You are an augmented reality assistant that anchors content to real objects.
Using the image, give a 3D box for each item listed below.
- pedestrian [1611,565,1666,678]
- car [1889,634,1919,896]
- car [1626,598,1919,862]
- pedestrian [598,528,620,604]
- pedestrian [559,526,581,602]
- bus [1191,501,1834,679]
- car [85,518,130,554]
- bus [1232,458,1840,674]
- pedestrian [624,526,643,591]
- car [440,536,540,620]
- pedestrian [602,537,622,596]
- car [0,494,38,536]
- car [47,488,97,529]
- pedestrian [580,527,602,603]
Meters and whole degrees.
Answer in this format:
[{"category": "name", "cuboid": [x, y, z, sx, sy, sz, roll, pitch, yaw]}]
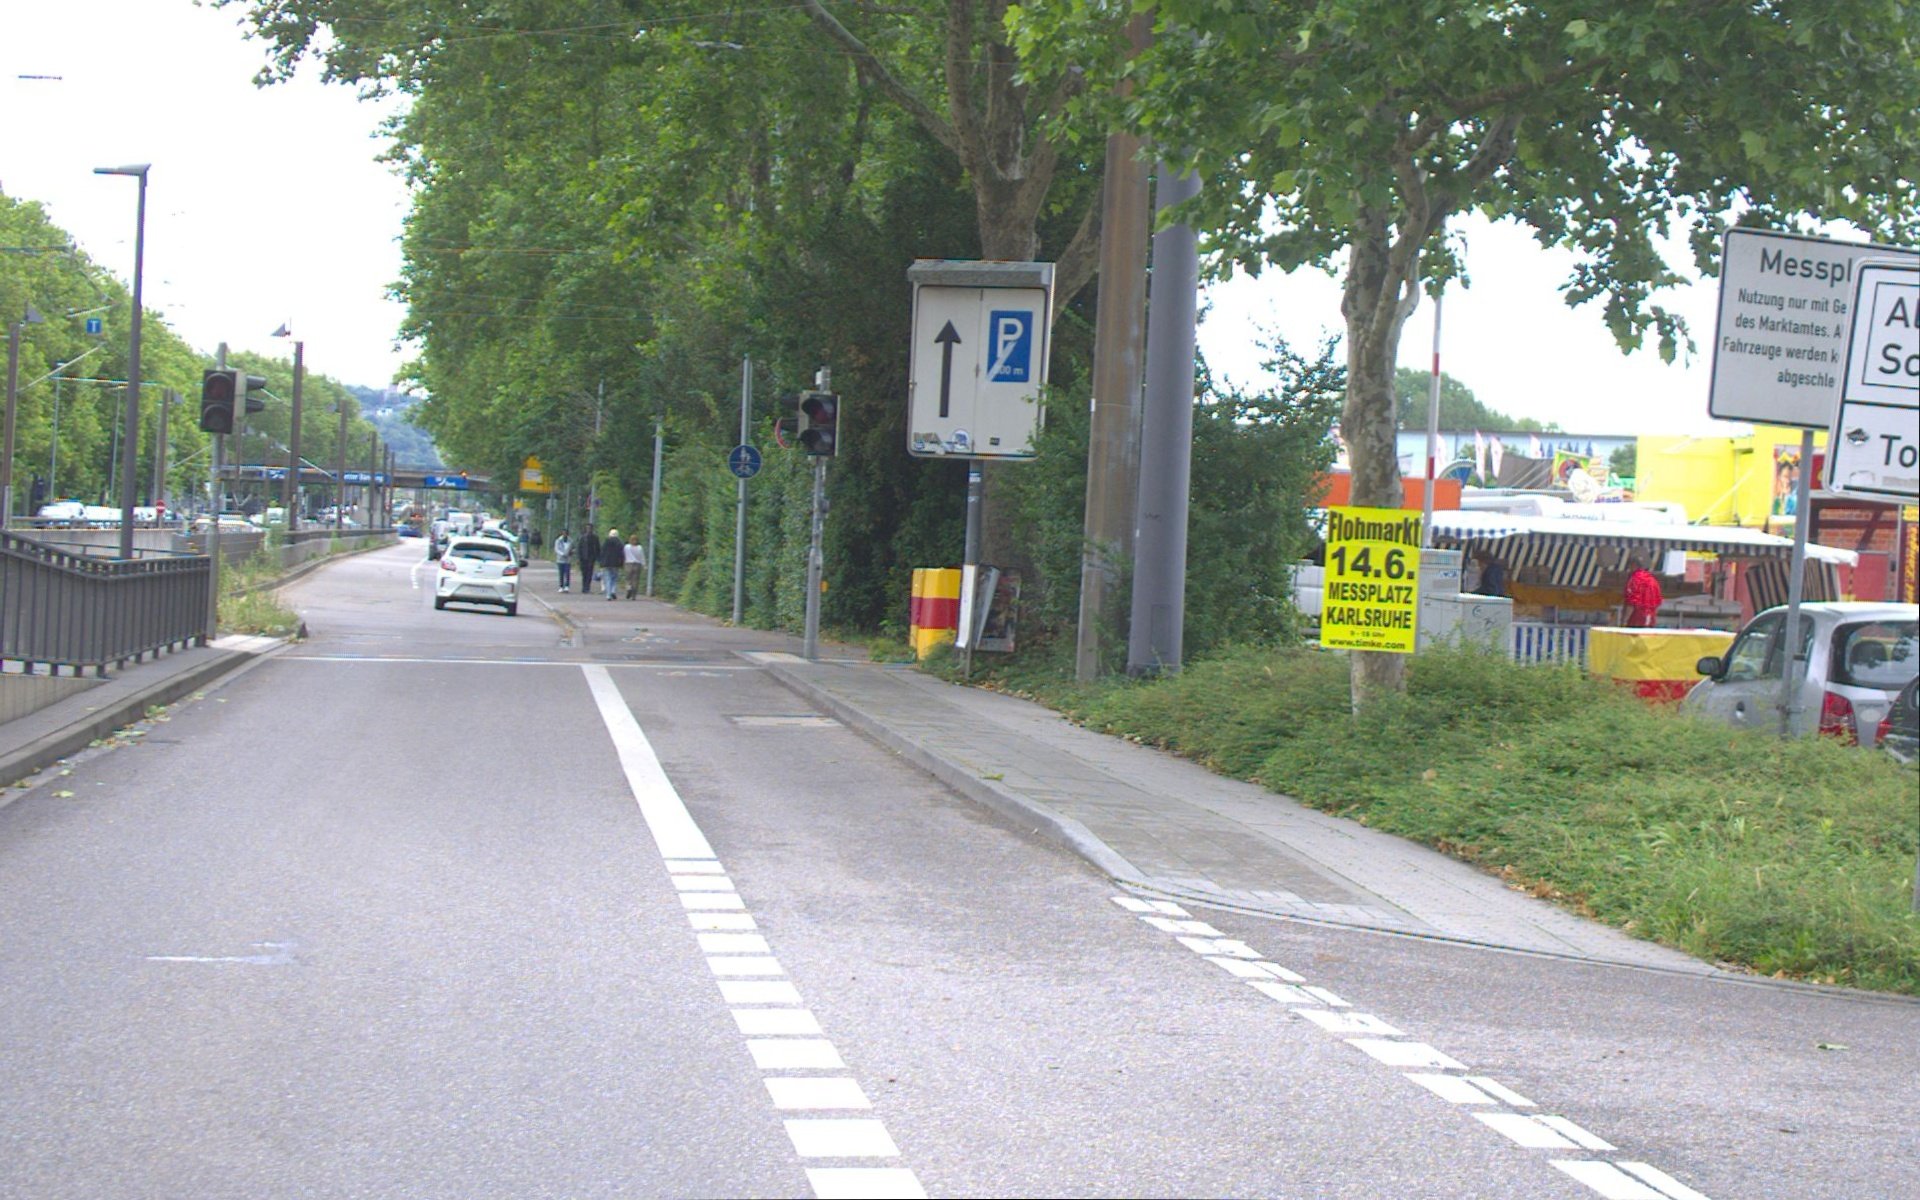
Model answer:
[{"category": "pedestrian", "cuboid": [8.911, 0.279, 45.169, 0.492, 1.458, 0.524, 3, 0, -10]}, {"category": "car", "cuboid": [6.548, 0.978, 17.437, 1.862, 1.425, 4.001, 3, 0, -12]}, {"category": "car", "cuboid": [6.120, 0.846, 23.698, 1.862, 1.589, 4.001, 3, 0, -6]}, {"category": "pedestrian", "cuboid": [-9.344, -0.910, 91.468, 0.396, 2.007, 0.402, 3, 0, 8]}, {"category": "pedestrian", "cuboid": [-10.367, -0.960, 91.382, 0.396, 2.007, 0.402, 3, 0, 8]}, {"category": "bus", "cuboid": [8.262, -0.142, 51.522, 9.274, 2.220, 2.001, 3, 0, -10]}, {"category": "car", "cuboid": [-44.075, -3.303, 177.734, 1.993, 1.788, 4.001, 3, 0, -11]}, {"category": "bus", "cuboid": [9.147, -0.517, 54.691, 9.274, 2.949, 2.001, 3, 0, -10]}, {"category": "pedestrian", "cuboid": [-8.048, -1.015, 84.689, 0.396, 1.580, 0.538, 3, 0, -7]}, {"category": "car", "cuboid": [-9.333, -0.454, 68.483, 1.840, 1.546, 4.001, 2, 1, -7]}, {"category": "pedestrian", "cuboid": [-8.562, -0.824, 84.623, 0.396, 1.439, 0.563, 3, 0, -8]}, {"category": "car", "cuboid": [-42.653, -3.843, 154.561, 1.993, 1.788, 4.001, 3, 0, -11]}, {"category": "car", "cuboid": [-41.404, -4.257, 160.328, 1.993, 1.788, 4.001, 3, 0, -11]}, {"category": "pedestrian", "cuboid": [-9.820, -0.933, 91.511, 0.396, 2.007, 0.402, 3, 0, 8]}]
